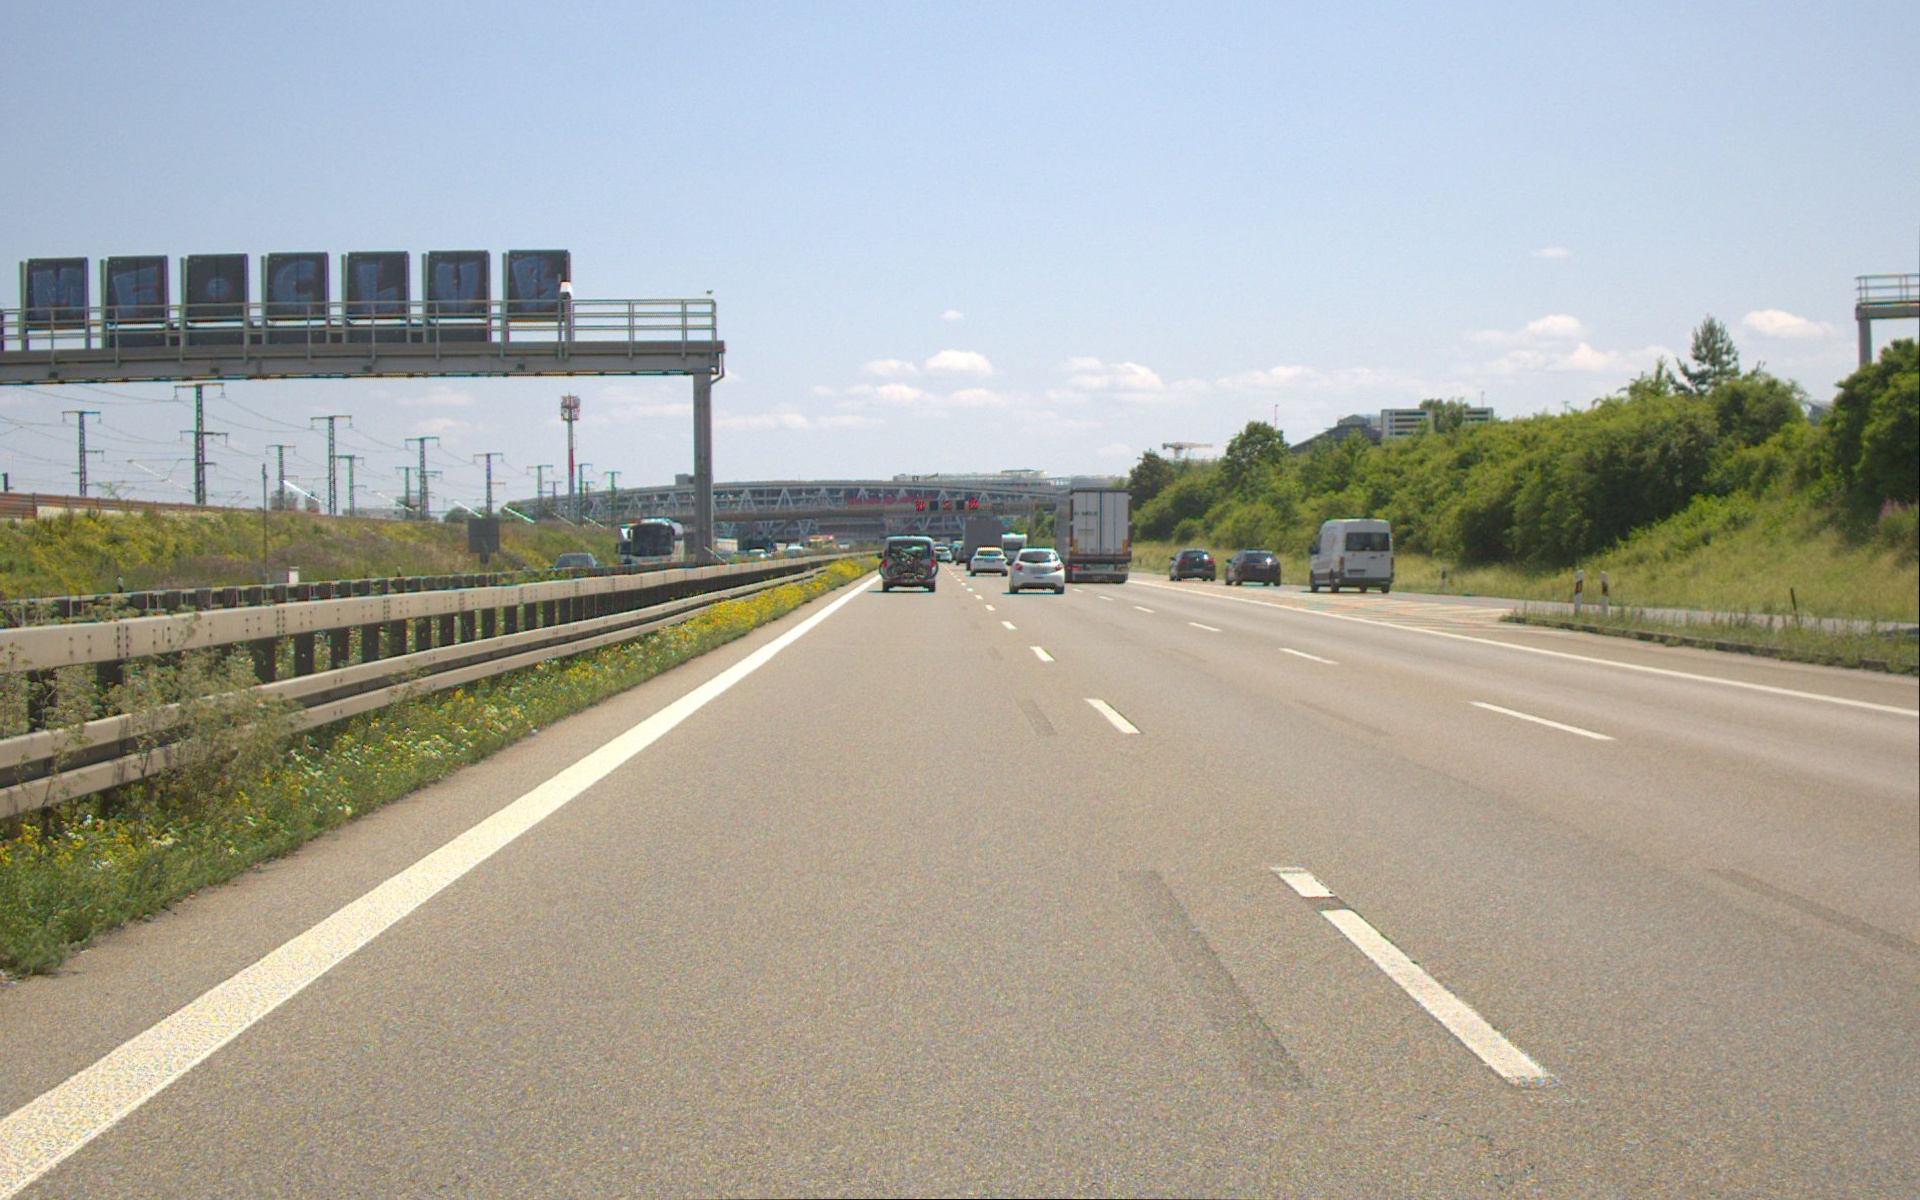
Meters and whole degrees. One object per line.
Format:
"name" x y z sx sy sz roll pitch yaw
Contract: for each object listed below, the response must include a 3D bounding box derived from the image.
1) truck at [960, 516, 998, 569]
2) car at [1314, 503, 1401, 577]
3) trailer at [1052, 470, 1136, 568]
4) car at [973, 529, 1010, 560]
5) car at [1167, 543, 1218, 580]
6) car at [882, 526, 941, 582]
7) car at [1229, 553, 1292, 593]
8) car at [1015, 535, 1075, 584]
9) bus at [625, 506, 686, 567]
"truck" 1.207 -3.695 221.046 2.355 3.404 6.057 0 1 0
"car" 13.917 -2.099 120.558 2.274 2.519 5.400 0 1 -1
"trailer" 5.708 -3.452 148.093 3.177 4.045 9.440 -1 1 0
"car" 1.628 -2.861 178.732 1.881 1.521 4.000 1 0 1
"car" 10.762 -1.776 159.605 1.993 1.590 4.000 2 0 -1
"car" -1.579 -1.496 113.320 1.881 1.769 4.000 0 0 0
"car" 12.156 -1.080 139.410 1.993 1.503 4.000 2 0 -3
"car" 2.770 -1.299 111.513 1.881 1.521 4.000 1 0 2
"bus" -18.923 -3.981 214.140 2.856 3.633 10.942 1 1 -1
